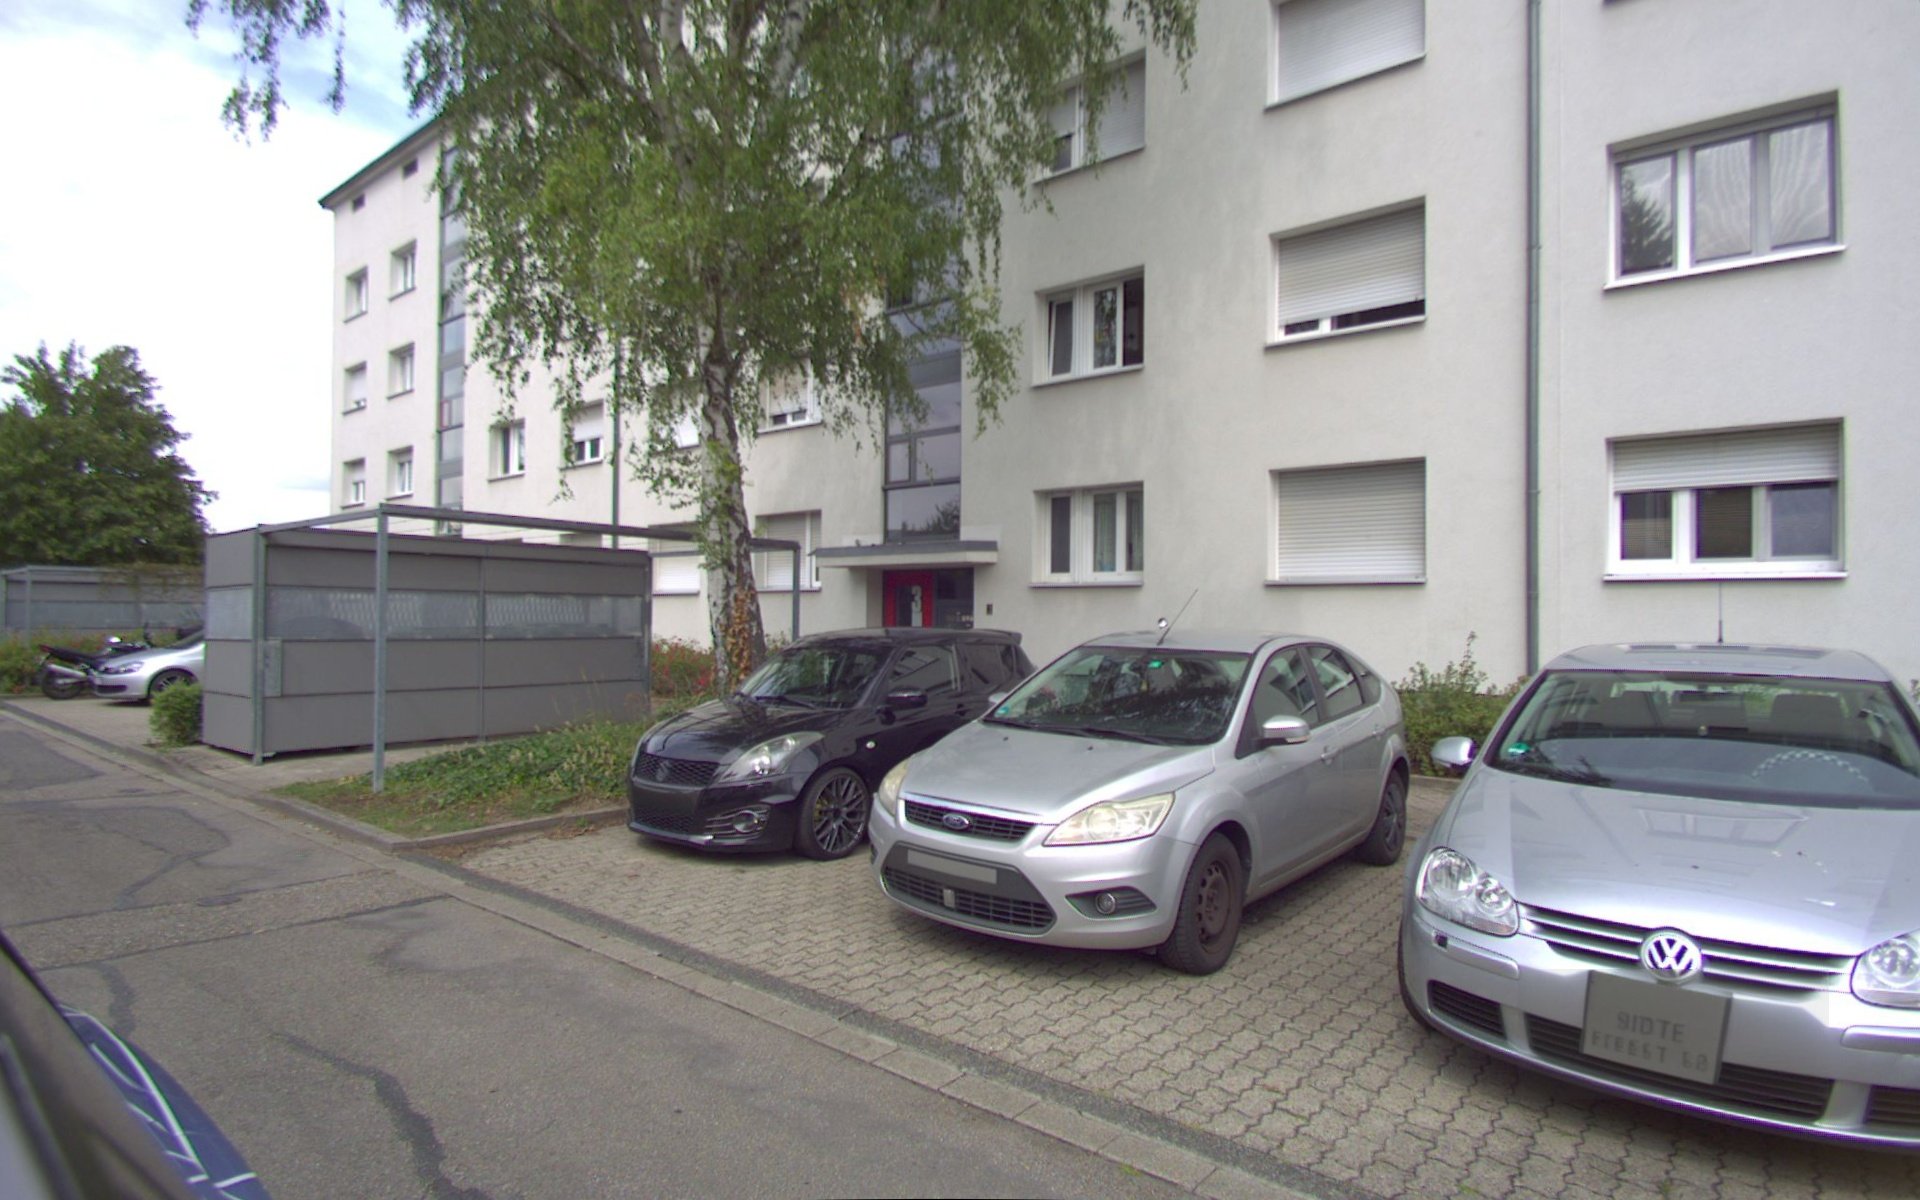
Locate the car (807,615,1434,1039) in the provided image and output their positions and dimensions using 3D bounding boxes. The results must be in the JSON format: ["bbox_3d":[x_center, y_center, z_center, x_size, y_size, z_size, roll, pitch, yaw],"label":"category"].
[{"bbox_3d":[1.232,0.891,5.784,1.780,1.516,4.011,-1,-2,39],"label":"car"}]

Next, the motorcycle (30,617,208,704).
[{"bbox_3d":[-15.297,1.106,18.485,0.713,1.475,2.353,-1,-4,39],"label":"motorcycle"}]

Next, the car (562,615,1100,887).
[{"bbox_3d":[-0.725,0.925,7.830,1.780,1.516,4.011,-1,-2,39],"label":"car"}]

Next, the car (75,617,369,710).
[{"bbox_3d":[-13.251,1.138,18.352,1.901,1.497,3.945,-1,-4,41],"label":"car"}]

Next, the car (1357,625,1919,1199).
[{"bbox_3d":[3.188,0.880,4.172,1.780,1.475,4.011,-1,-2,39],"label":"car"}]
